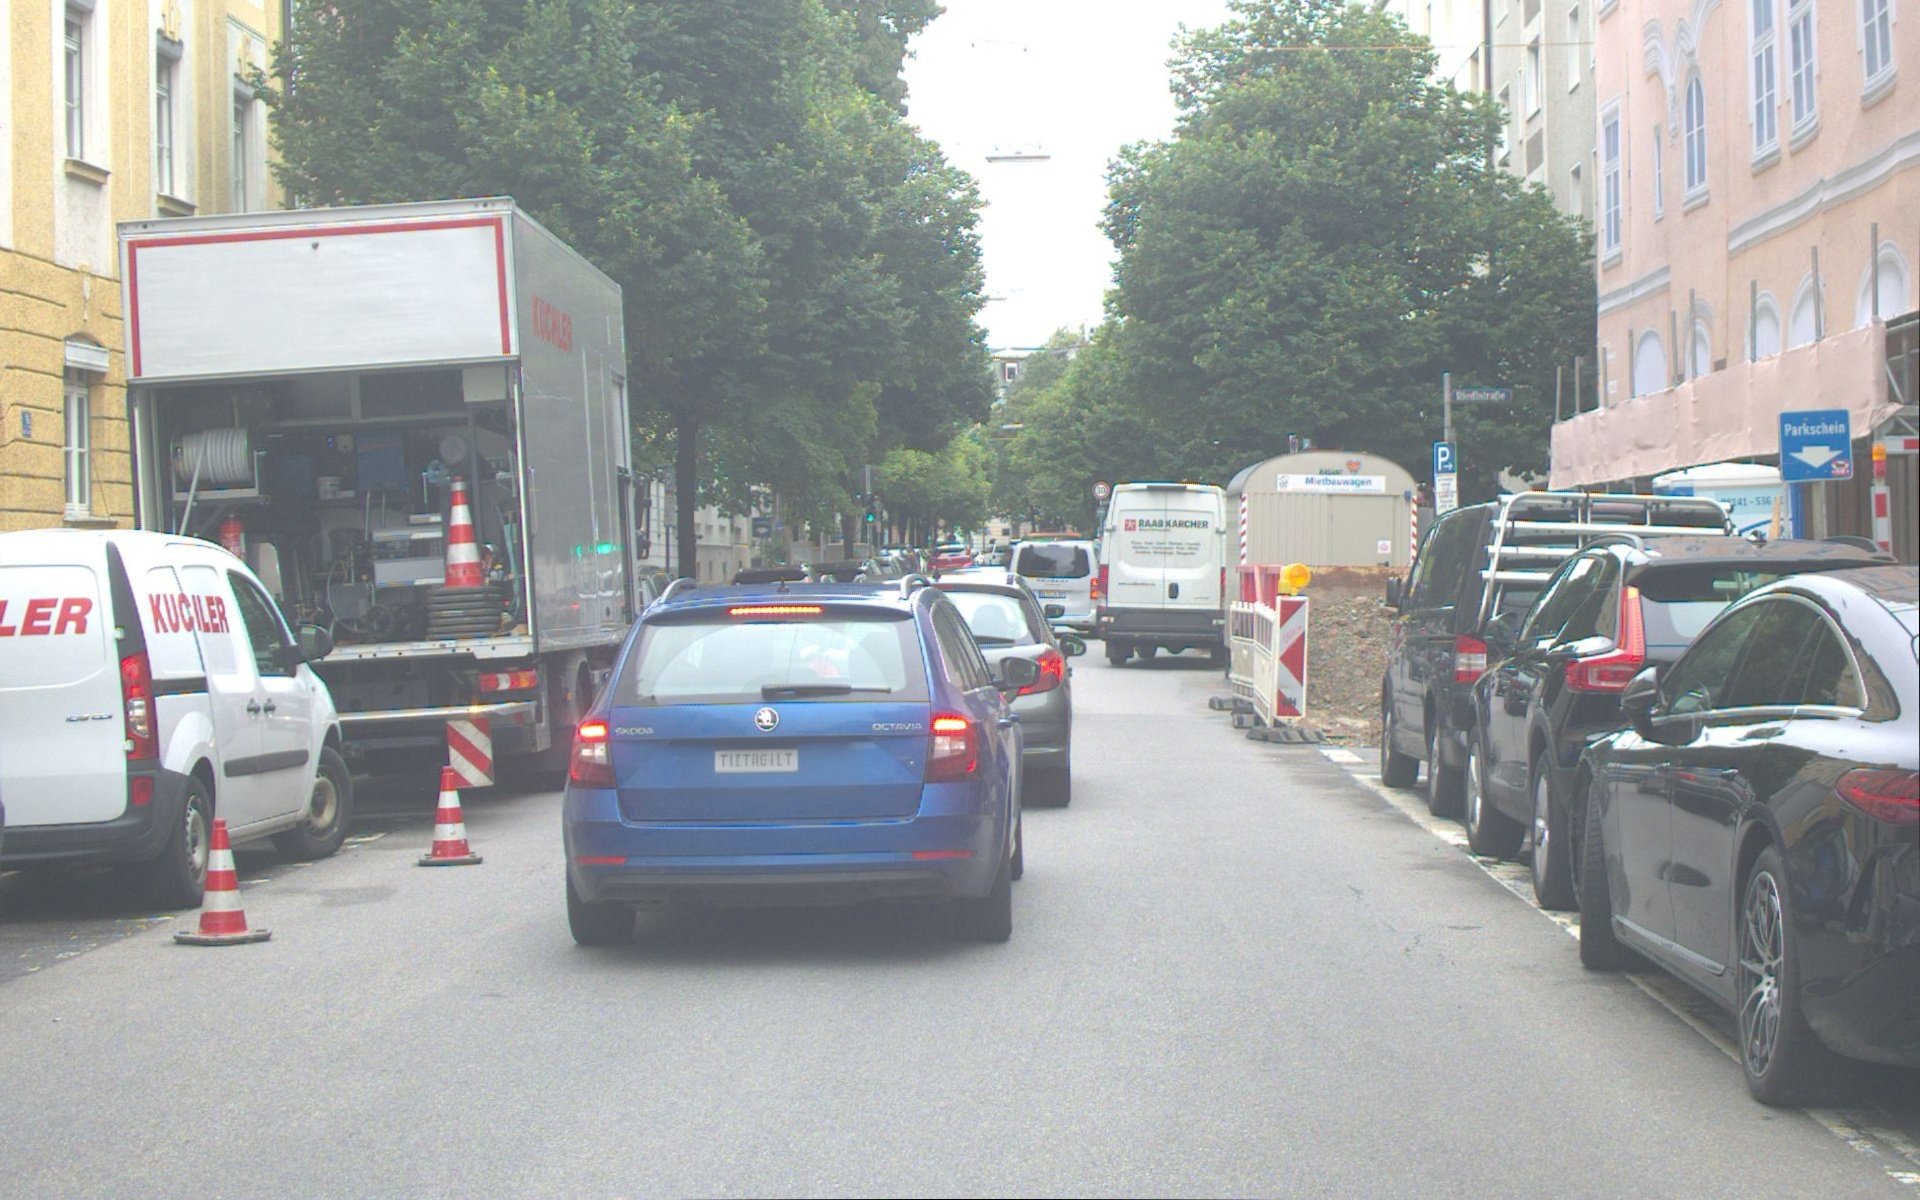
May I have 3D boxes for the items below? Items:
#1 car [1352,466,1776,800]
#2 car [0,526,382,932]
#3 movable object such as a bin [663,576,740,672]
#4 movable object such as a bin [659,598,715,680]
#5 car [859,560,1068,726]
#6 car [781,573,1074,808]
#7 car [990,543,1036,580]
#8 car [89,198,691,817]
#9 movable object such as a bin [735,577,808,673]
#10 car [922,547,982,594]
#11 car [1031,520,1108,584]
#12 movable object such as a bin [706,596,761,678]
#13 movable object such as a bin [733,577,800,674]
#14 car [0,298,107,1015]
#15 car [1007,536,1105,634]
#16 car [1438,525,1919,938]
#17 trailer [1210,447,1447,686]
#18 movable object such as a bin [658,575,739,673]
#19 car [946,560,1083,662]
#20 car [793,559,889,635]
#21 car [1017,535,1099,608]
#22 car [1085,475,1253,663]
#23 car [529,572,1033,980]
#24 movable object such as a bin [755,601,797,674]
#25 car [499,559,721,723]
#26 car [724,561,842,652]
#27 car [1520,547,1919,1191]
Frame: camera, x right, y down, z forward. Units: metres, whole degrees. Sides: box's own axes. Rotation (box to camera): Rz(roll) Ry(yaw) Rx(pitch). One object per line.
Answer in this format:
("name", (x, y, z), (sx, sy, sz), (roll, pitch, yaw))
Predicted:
("car", (3.784, 0.266, 22.446), (2.082, 1.914, 5.139), (1, -2, 3))
("car", (-4.307, 0.573, 17.441), (1.763, 1.773, 4.326), (-3, 0, 3))
("movable object such as a bin", (-3.889, 0.358, 51.786), (1.057, 1.372, 1.096), (-3, 1, -2))
("movable object such as a bin", (-3.951, 0.561, 49.802), (0.721, 1.134, 0.658), (-3, 1, -2))
("car", (0.059, 0.361, 33.148), (1.867, 1.449, 4.347), (1, 1, 1))
("car", (-0.139, 0.541, 22.782), (1.741, 1.417, 3.664), (-1, 0, 3))
("car", (2.445, -1.789, 158.387), (2.008, 1.647, 4.347), (1, 1, 2))
("car", (-3.892, -0.607, 25.768), (2.812, 3.804, 8.723), (-1, 0, 1))
("movable object such as a bin", (-2.831, 0.367, 51.835), (1.020, 1.372, 1.104), (-3, 1, -2))
("car", (-0.261, -1.088, 124.896), (2.008, 1.647, 4.347), (1, 1, 2))
("car", (2.986, -1.312, 93.079), (2.008, 1.647, 4.347), (1, 1, 3))
("movable object such as a bin", (-3.283, 0.530, 49.836), (0.711, 1.144, 0.636), (-3, 1, -2))
("movable object such as a bin", (-2.849, 0.365, 50.737), (0.918, 1.372, 1.080), (-3, 1, -2))
("car", (-4.544, 0.283, 10.019), (2.056, 2.578, 6.876), (-5, 1, 1))
("car", (1.918, -0.329, 68.158), (1.867, 1.863, 4.347), (1, 1, 2))
("car", (3.396, 0.544, 16.628), (1.694, 1.671, 4.407), (2, 0, 3))
("trailer", (4.658, -0.414, 44.592), (2.502, 2.830, 6.901), (1, 0, 2))
("movable object such as a bin", (-3.847, 0.346, 50.684), (1.081, 1.372, 1.084), (-3, 1, -2))
("car", (0.824, 0.126, 49.561), (1.867, 1.343, 4.347), (1, 1, 2))
("car", (-2.377, -0.078, 69.280), (1.812, 1.473, 4.000), (0, 1, 0))
("car", (2.318, -0.700, 81.105), (1.867, 1.647, 4.347), (1, 1, 2))
("car", (3.212, -0.448, 51.737), (2.113, 2.654, 5.498), (1, 0, 8))
("car", (-0.607, 0.625, 14.665), (1.789, 1.455, 4.314), (-1, 0, 2))
("movable object such as a bin", (-2.663, 0.542, 49.878), (0.546, 1.017, 0.636), (-3, 1, -2))
("car", (-3.746, 0.398, 37.446), (1.785, 1.623, 4.185), (-2, 1, 2))
("car", (-2.981, 0.080, 58.562), (1.812, 1.473, 4.000), (0, 1, 0))
("car", (3.192, 0.608, 11.058), (1.931, 1.548, 5.637), (0, 1, 1))
